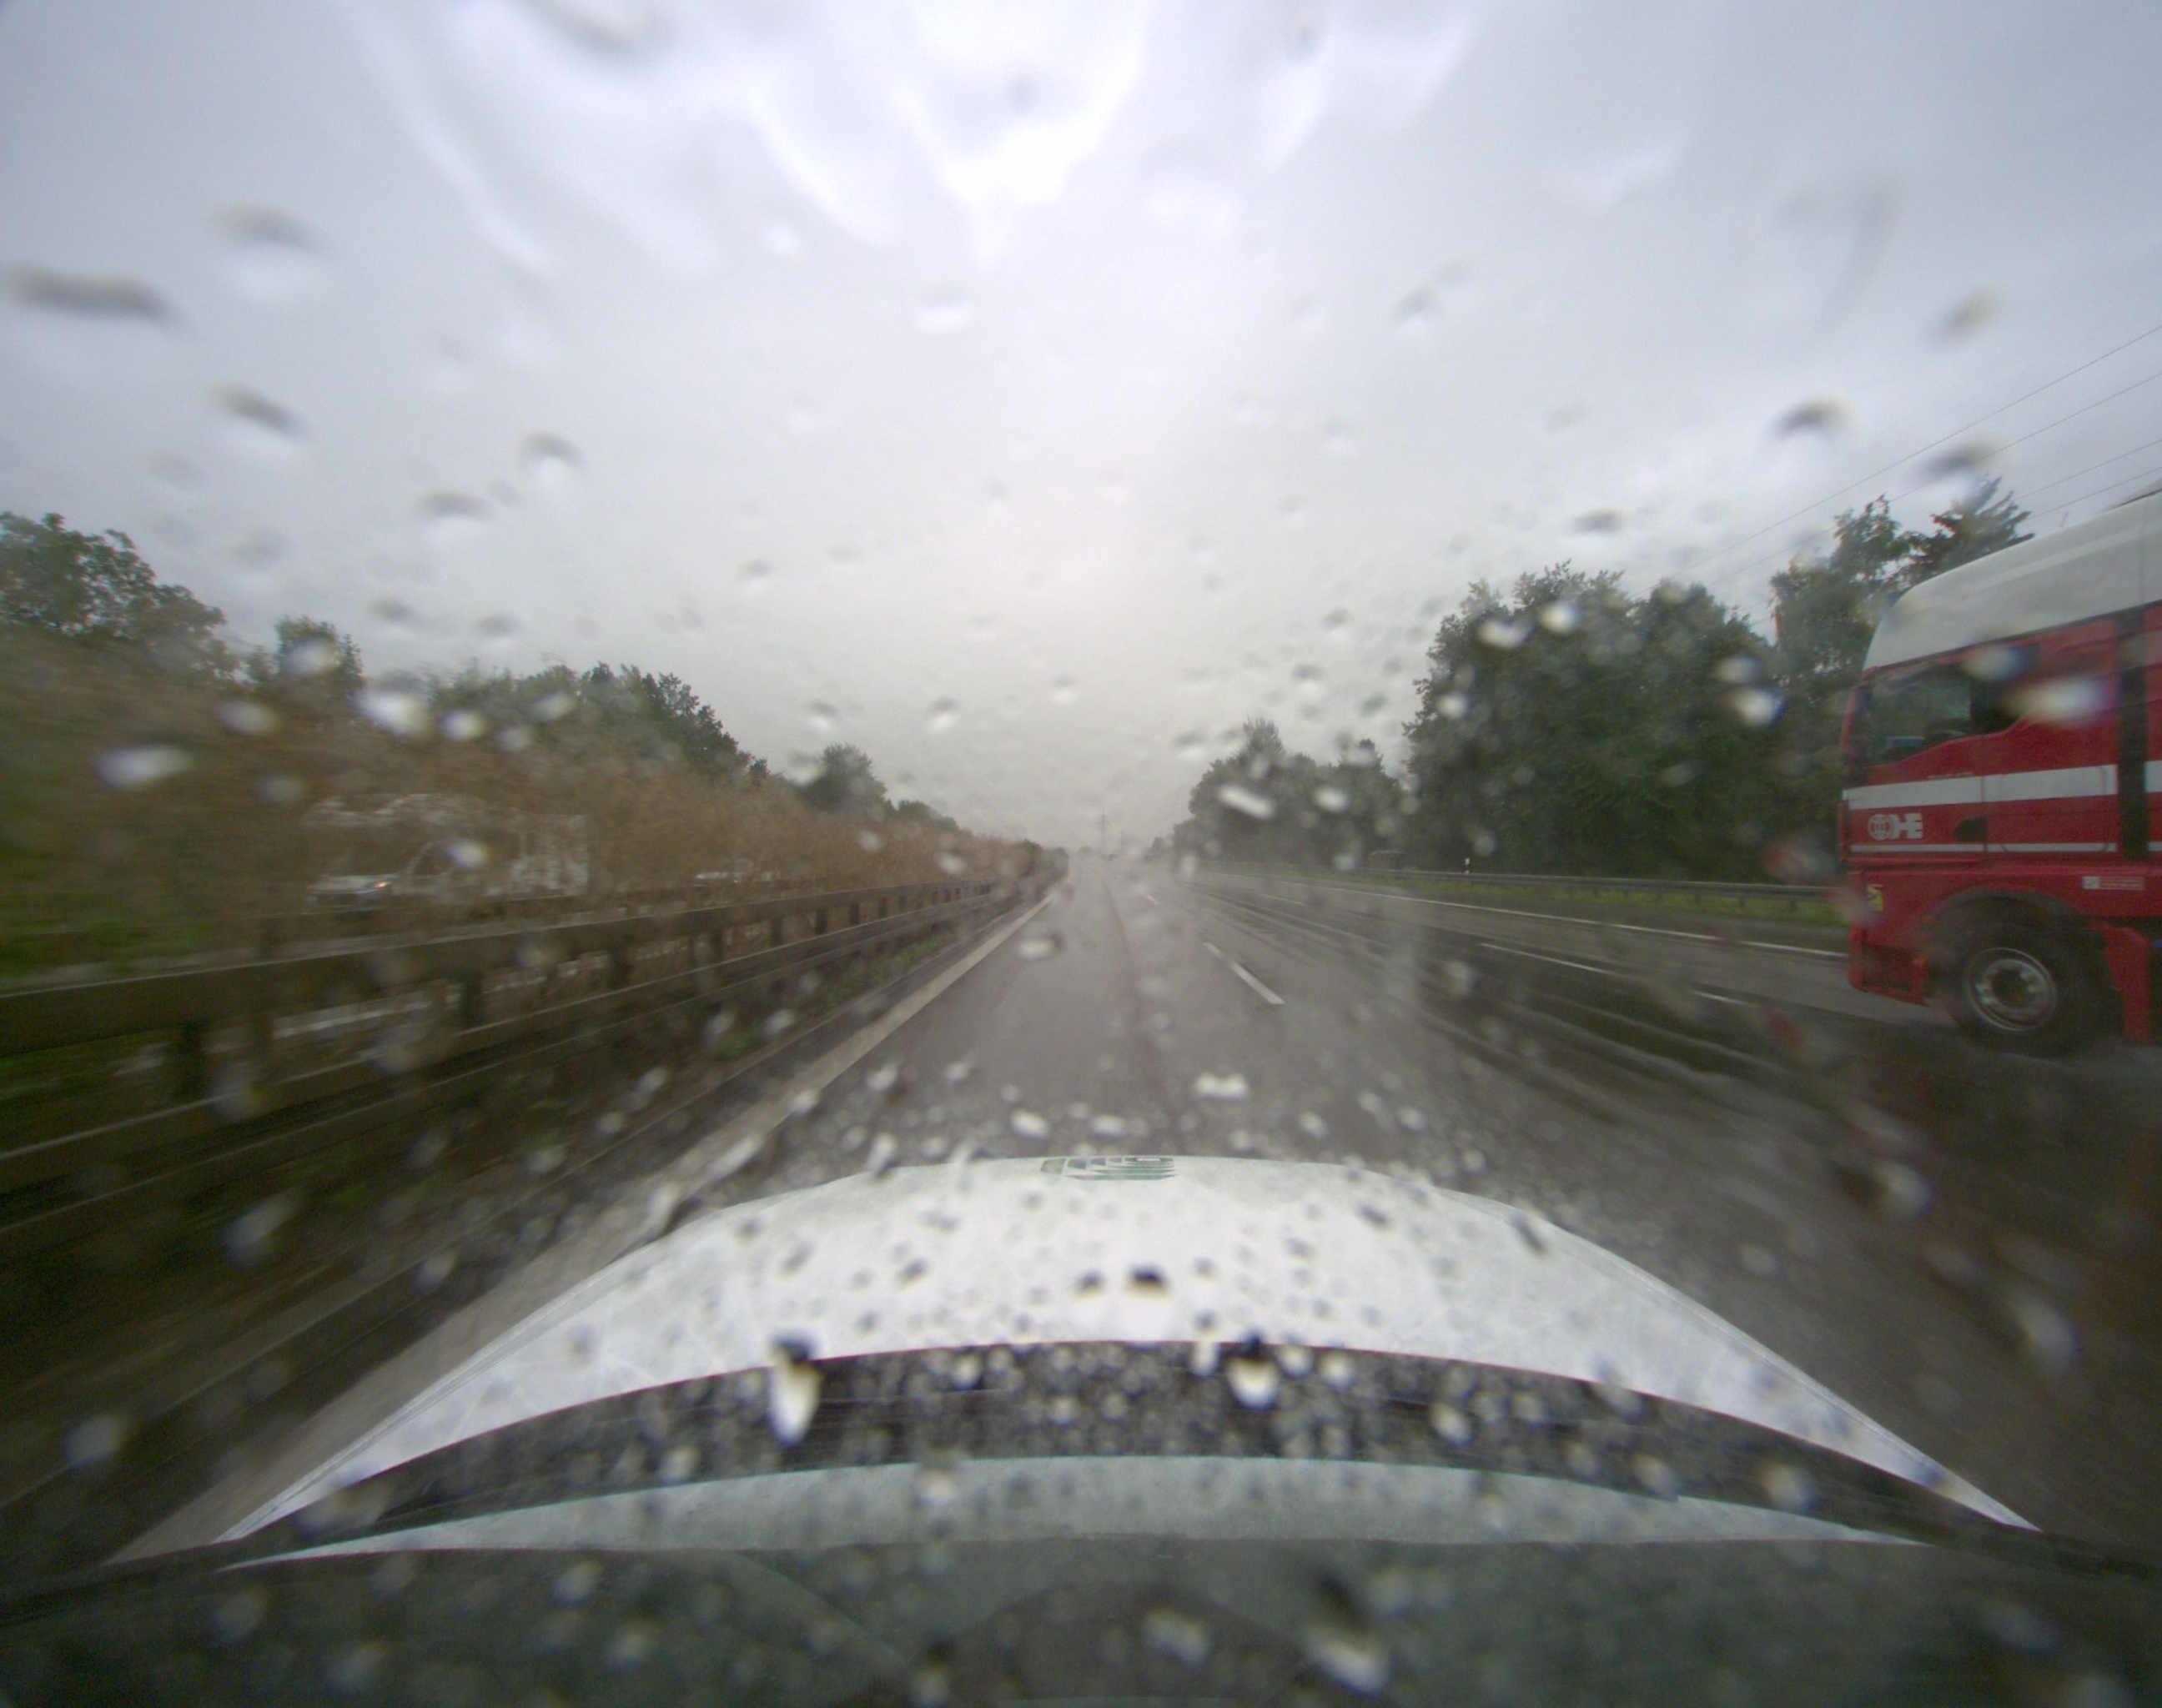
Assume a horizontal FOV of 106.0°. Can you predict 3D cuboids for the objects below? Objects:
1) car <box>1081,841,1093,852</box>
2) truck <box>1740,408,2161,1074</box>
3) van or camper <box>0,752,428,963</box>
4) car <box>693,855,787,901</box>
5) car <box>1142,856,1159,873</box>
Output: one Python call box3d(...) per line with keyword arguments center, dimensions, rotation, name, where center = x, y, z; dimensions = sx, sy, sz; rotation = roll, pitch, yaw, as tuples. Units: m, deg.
box3d(center=(1.789, -2.351, 250.573), dimensions=(3.194, 3.193, 7.245), rotation=(0, 0, -4), name="car")
box3d(center=(7.752, -0.679, 5.280), dimensions=(2.610, 3.955, 5.434), rotation=(-1, 0, 1), name="truck")
box3d(center=(-16.074, 0.078, 15.072), dimensions=(2.577, 3.041, 6.570), rotation=(-1, 0, 1), name="van or camper")
box3d(center=(-11.704, 0.785, 28.216), dimensions=(1.419, 1.457, 4.129), rotation=(-1, 0, 1), name="car")
box3d(center=(8.798, 1.282, 103.301), dimensions=(1.802, 2.158, 3.997), rotation=(0, 0, -2), name="car")
